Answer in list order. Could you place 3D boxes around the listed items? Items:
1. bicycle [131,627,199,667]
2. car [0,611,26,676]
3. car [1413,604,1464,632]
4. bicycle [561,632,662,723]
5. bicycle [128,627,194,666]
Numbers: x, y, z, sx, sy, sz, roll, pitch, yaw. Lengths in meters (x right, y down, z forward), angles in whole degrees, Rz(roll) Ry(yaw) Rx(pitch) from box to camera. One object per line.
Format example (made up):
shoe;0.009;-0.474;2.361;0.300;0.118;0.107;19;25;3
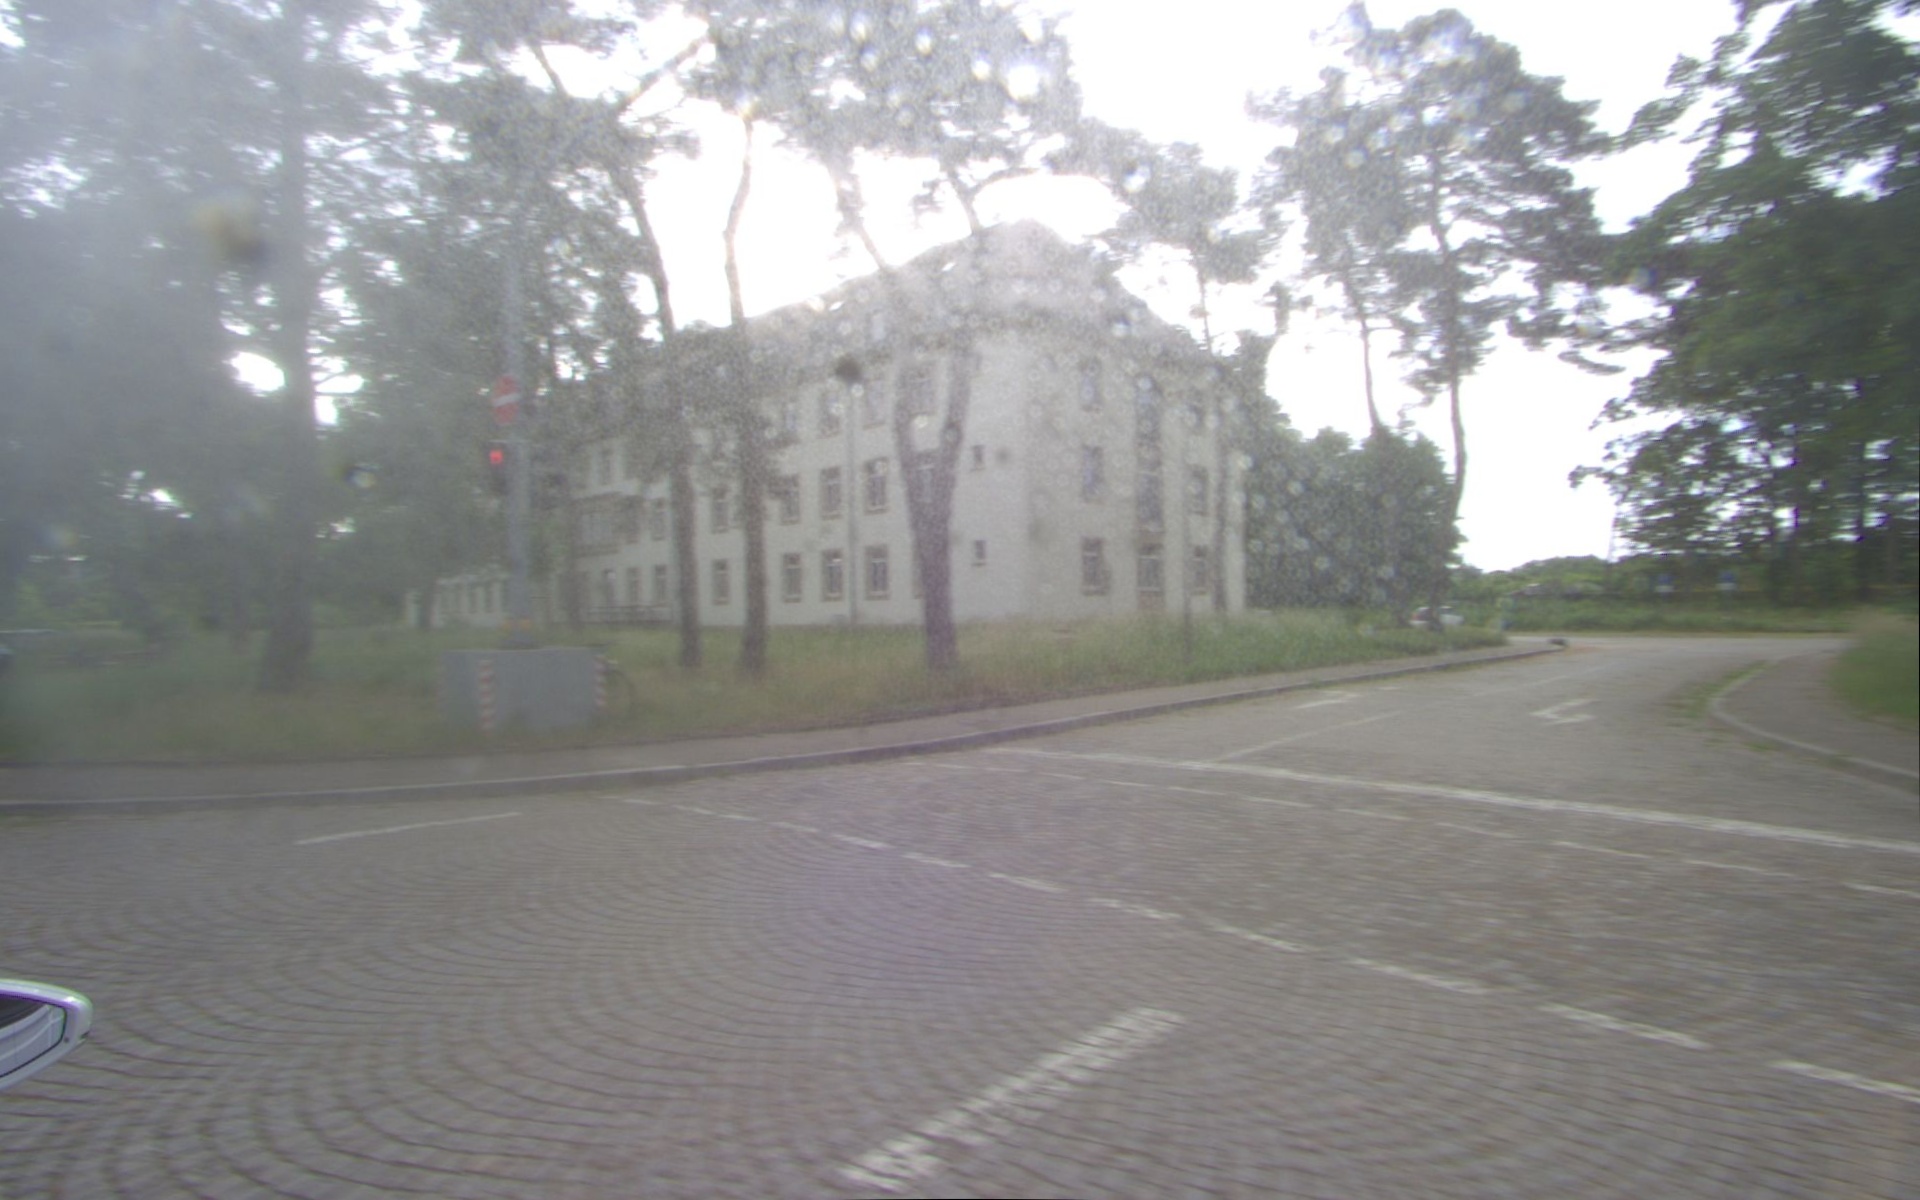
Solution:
bicycle;-23.609;1.379;29.755;0.397;1.139;1.539;-1;0;45
car;-30.714;1.360;28.756;2.117;1.941;5.298;-1;0;29
car;25.268;0.968;52.847;1.473;1.455;3.166;-1;-2;44
bicycle;-4.417;0.943;12.639;0.576;0.983;1.662;-3;3;-42
bicycle;-24.442;1.408;30.647;0.397;1.139;1.539;-1;0;45
